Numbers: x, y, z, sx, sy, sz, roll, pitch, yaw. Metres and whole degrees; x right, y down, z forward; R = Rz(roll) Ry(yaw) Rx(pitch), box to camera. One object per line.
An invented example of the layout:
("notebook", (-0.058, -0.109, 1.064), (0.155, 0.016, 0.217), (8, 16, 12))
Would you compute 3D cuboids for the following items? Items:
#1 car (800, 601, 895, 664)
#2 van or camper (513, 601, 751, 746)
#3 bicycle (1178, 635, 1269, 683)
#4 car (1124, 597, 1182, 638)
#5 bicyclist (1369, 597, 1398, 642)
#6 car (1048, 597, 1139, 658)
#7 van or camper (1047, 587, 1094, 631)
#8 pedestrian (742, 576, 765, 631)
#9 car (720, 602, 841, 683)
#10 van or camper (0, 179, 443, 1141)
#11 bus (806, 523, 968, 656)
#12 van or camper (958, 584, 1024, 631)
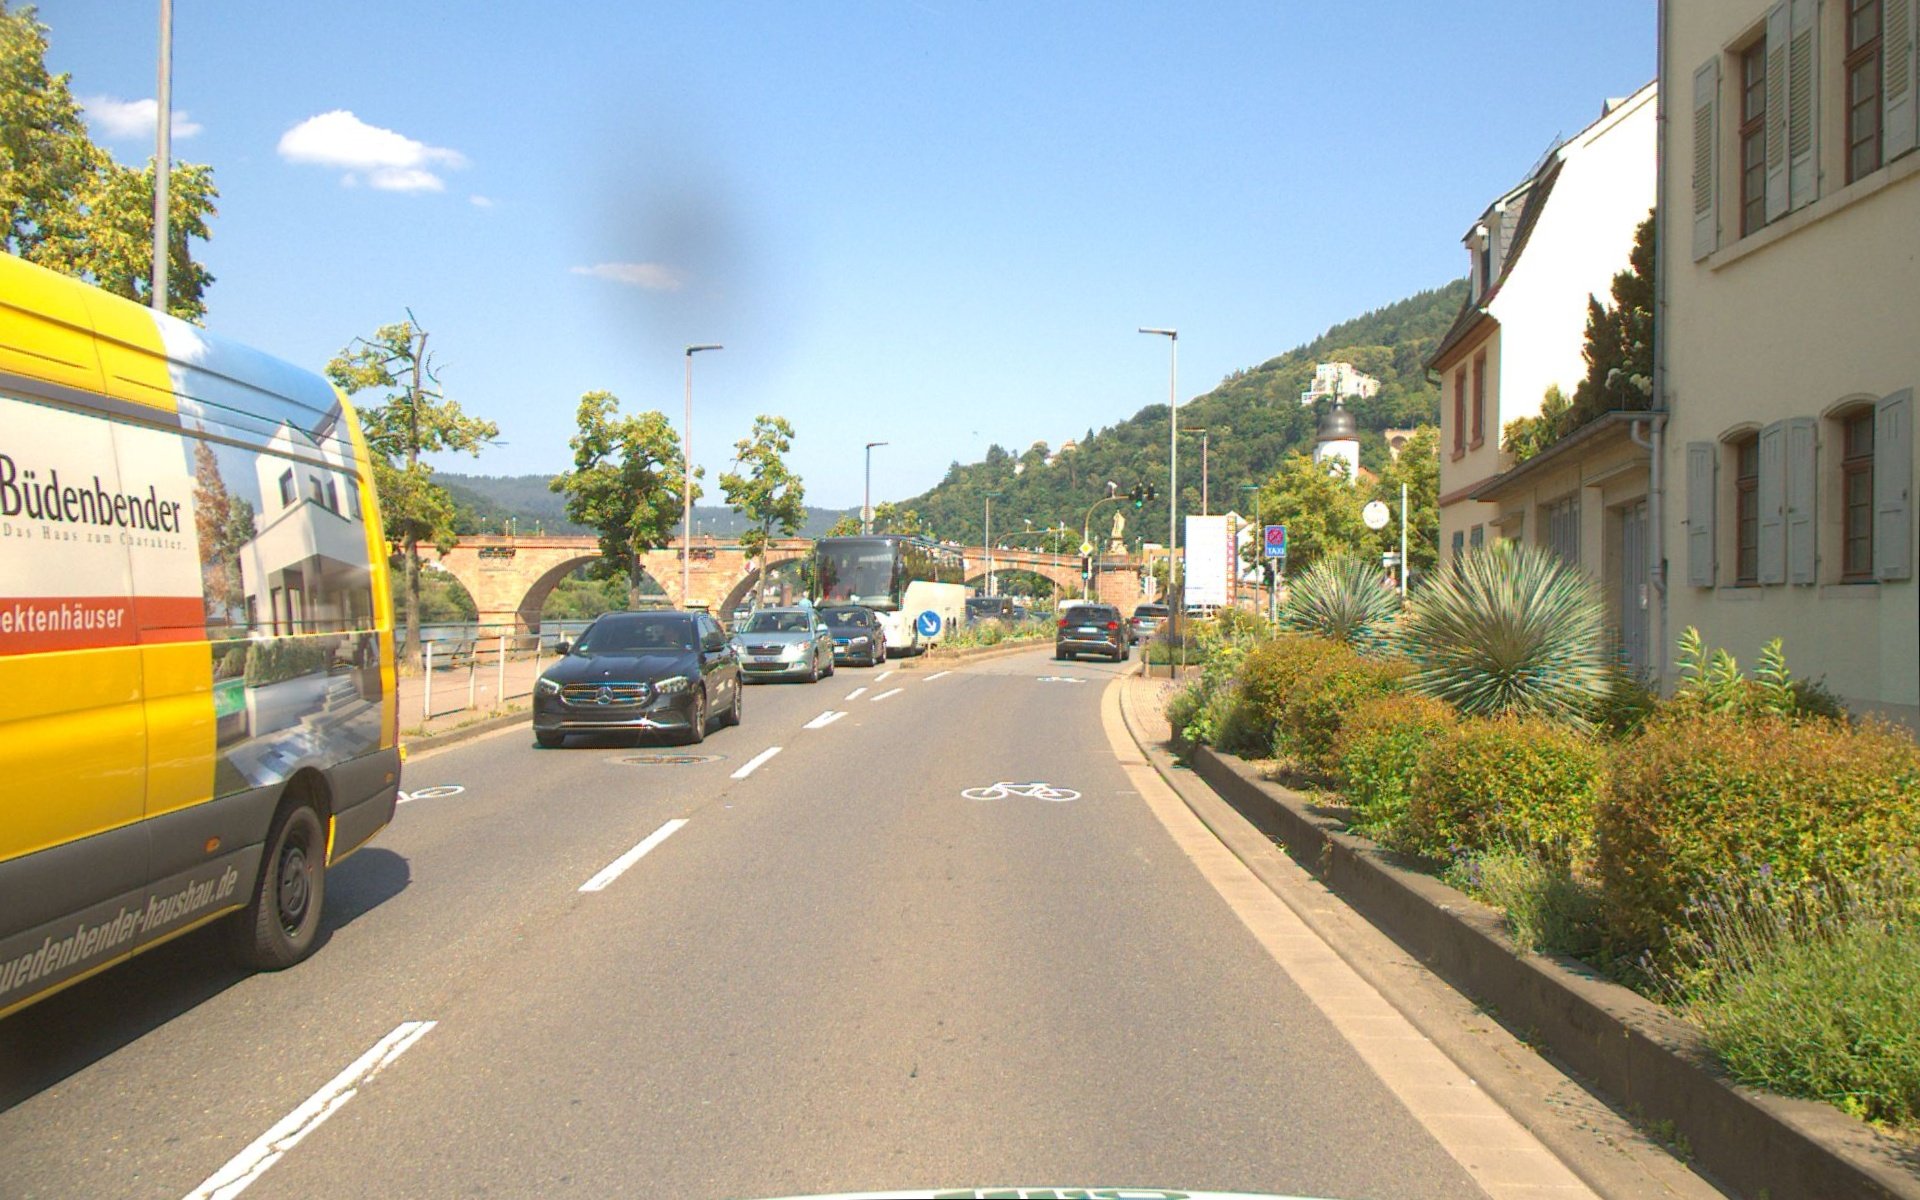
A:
("car", (-2.732, 0.776, 40.961), (1.778, 1.454, 4.194), (-1, 0, 4))
("van or camper", (-3.776, 0.800, 19.888), (1.953, 1.480, 4.681), (-1, -1, -1))
("bicycle", (5.452, 1.218, 34.219), (1.772, 0.893, 0.502), (2, 0, 0))
("car", (7.423, 0.645, 63.207), (1.885, 1.487, 4.836), (0, 0, 11))
("bicyclist", (15.100, 0.690, 58.993), (0.751, 1.611, 1.089), (0, -1, -1))
("car", (3.752, 0.763, 45.840), (1.885, 1.580, 4.835), (1, -1, 12))
("van or camper", (6.660, 0.582, 98.963), (1.951, 2.493, 5.498), (-2, -2, 13))
("pedestrian", (-6.824, 0.129, 54.754), (0.607, 1.811, 0.662), (1, -1, 5))
("car", (-3.522, 0.800, 33.144), (1.776, 1.453, 4.312), (-1, 0, 2))
("van or camper", (-3.640, 0.164, 5.122), (2.045, 2.602, 7.088), (1, -1, -2))
("bus", (-1.989, -0.157, 51.802), (2.575, 3.627, 12.992), (0, -1, 9))
("van or camper", (1.348, 0.327, 69.907), (1.951, 1.906, 5.184), (-1, -1, 10))
